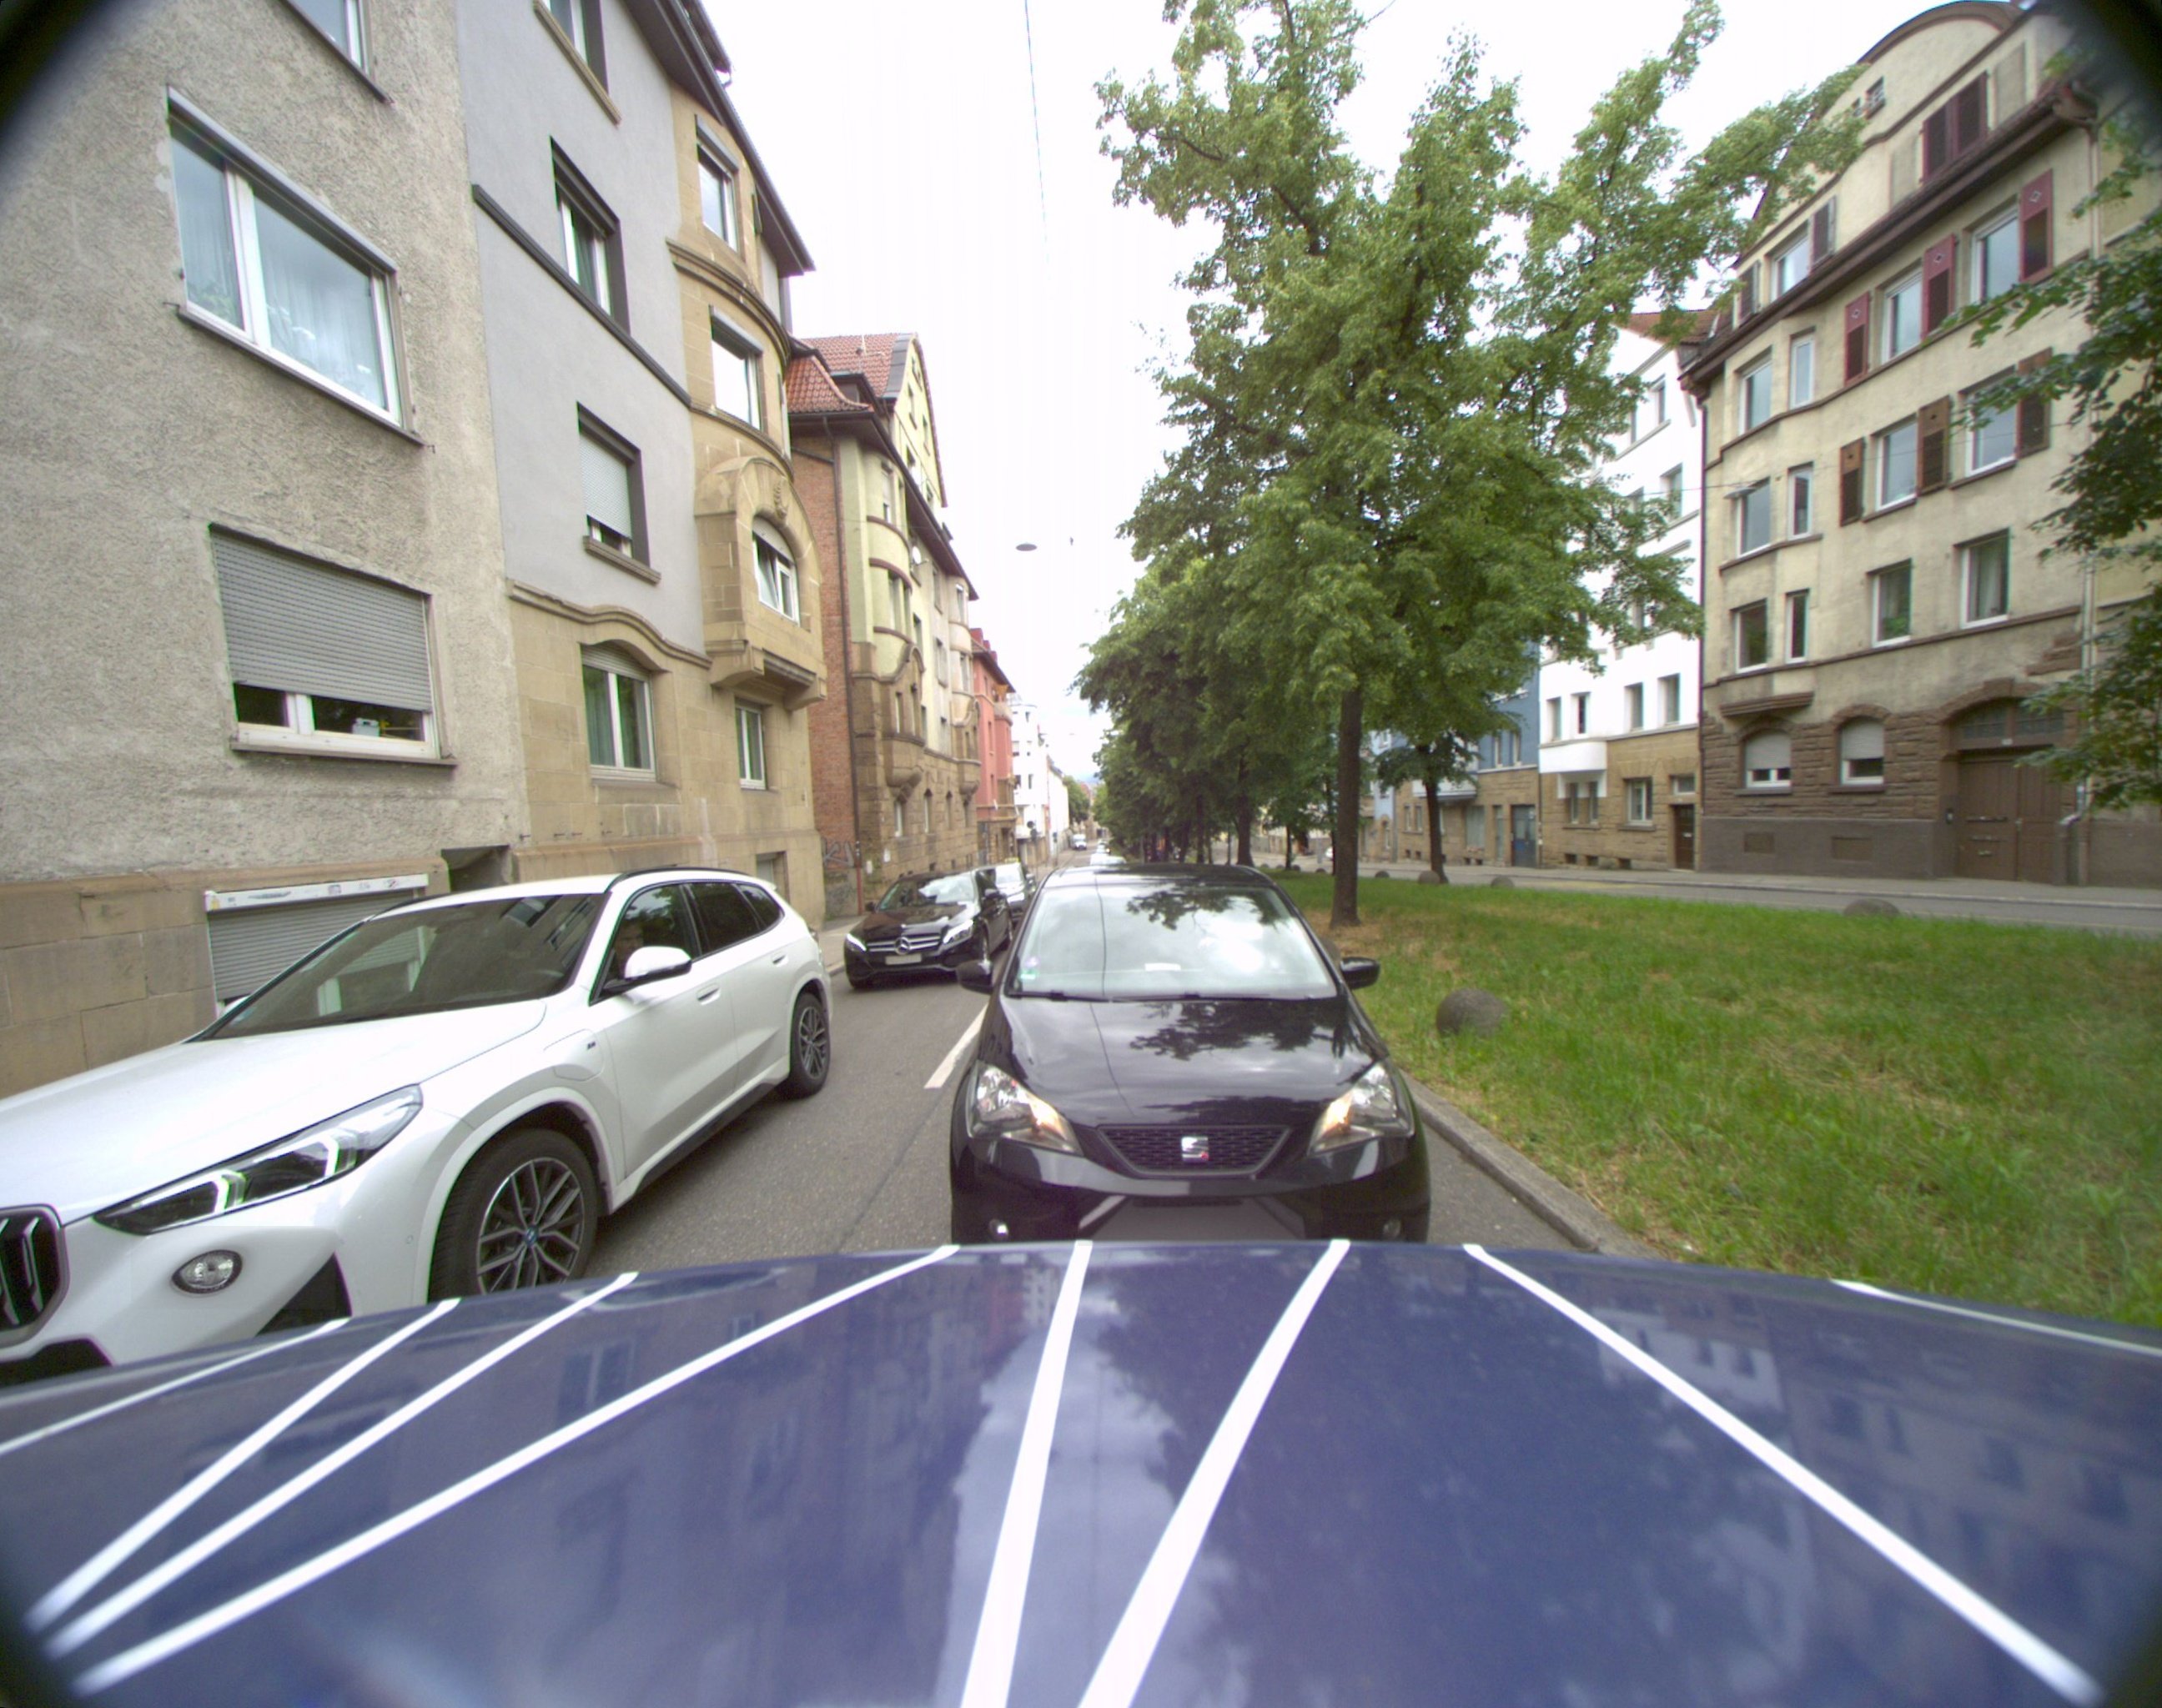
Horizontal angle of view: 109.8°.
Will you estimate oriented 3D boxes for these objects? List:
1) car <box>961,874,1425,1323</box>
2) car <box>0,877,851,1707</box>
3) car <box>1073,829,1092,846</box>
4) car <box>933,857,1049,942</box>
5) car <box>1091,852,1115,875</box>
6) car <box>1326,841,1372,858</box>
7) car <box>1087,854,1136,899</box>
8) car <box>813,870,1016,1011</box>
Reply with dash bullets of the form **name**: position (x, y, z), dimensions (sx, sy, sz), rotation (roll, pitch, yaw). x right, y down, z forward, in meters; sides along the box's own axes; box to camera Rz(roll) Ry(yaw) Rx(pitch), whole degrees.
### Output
- **car**: position (0.413, 0.904, 4.305), dimensions (1.611, 1.457, 3.296), rotation (0, 1, 1)
- **car**: position (-2.815, 1.077, 3.741), dimensions (1.859, 1.547, 4.350), rotation (-6, 1, 0)
- **car**: position (0.264, -2.884, 136.818), dimensions (2.717, 2.879, 6.449), rotation (-2, 1, -6)
- **car**: position (-1.969, 0.962, 17.959), dimensions (1.936, 1.506, 4.303), rotation (-6, 1, 2)
- **car**: position (1.559, 0.678, 54.125), dimensions (1.607, 1.492, 3.737), rotation (-2, 1, 1)
- **car**: position (22.236, -0.381, 63.098), dimensions (3.291, 1.323, 1.672), rotation (-2, 1, 10)
- **car**: position (1.086, 0.794, 28.349), dimensions (1.664, 1.456, 3.581), rotation (-2, 1, 1)
- **car**: position (-2.163, 1.082, 11.177), dimensions (1.884, 1.369, 4.205), rotation (-6, 1, 1)
